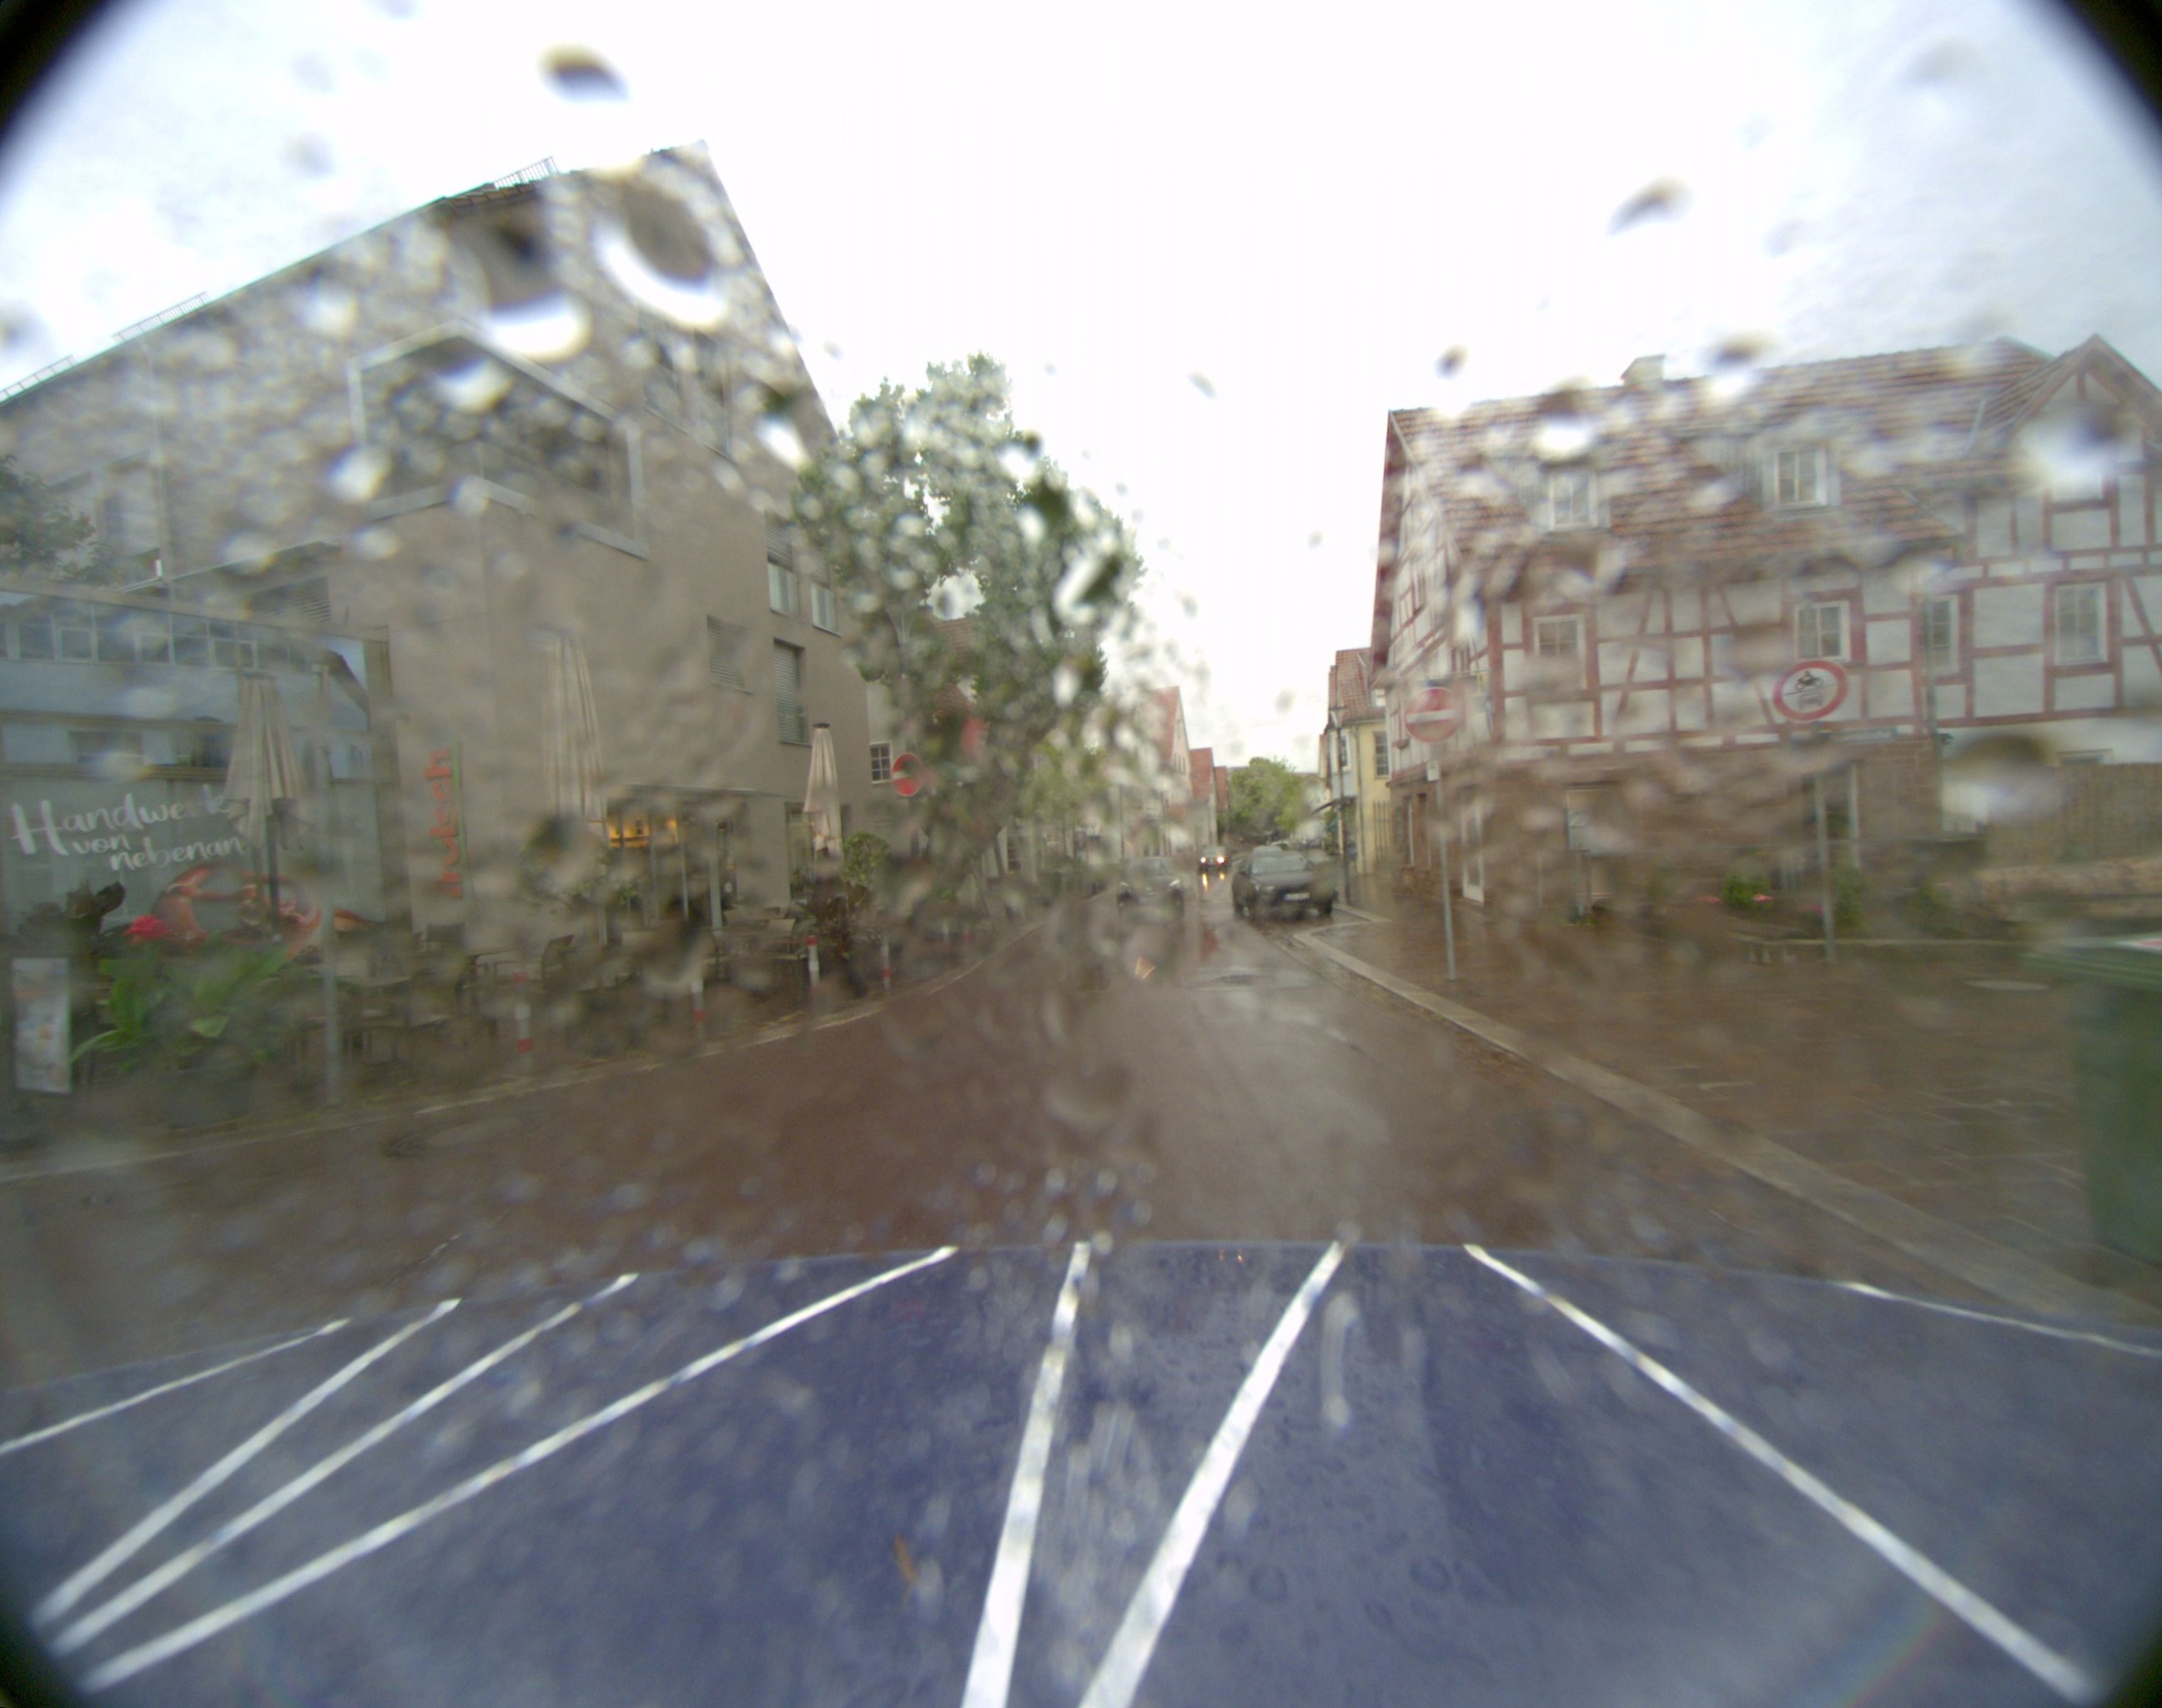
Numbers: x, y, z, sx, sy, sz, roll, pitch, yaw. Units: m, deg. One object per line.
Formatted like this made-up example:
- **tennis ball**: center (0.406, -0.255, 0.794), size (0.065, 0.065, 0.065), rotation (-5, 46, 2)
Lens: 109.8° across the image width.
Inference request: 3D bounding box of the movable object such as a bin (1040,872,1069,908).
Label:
- **movable object such as a bin**: center (-0.818, 1.111, 23.539), size (0.765, 1.068, 0.538), rotation (-2, 1, 9)

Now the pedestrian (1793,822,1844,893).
- **pedestrian**: center (12.298, 0.064, 12.671), size (0.412, 1.147, 0.424), rotation (-3, 1, 8)

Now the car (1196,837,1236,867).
- **car**: center (8.725, -0.161, 48.709), size (1.996, 1.740, 4.004), rotation (-2, 1, 17)

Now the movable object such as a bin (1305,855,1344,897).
- **movable object such as a bin**: center (6.817, 0.597, 21.333), size (0.834, 1.105, 0.919), rotation (-2, 1, 6)

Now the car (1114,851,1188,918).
- **car**: center (1.931, 0.737, 20.408), size (1.735, 1.547, 3.846), rotation (-2, 1, 7)

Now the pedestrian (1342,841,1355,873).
- **pedestrian**: center (11.168, 0.126, 31.736), size (0.454, 1.300, 0.518), rotation (-2, 1, 15)

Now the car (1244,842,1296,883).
- **car**: center (8.467, 0.329, 34.043), size (1.997, 1.520, 4.003), rotation (-5, 0, 14)

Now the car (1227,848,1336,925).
- **car**: center (4.538, 0.661, 17.745), size (1.693, 1.477, 4.001), rotation (-4, 1, 4)

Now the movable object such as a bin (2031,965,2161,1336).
- **movable object such as a bin**: center (3.627, 0.927, 2.348), size (0.660, 1.076, 0.552), rotation (-2, 1, 5)
